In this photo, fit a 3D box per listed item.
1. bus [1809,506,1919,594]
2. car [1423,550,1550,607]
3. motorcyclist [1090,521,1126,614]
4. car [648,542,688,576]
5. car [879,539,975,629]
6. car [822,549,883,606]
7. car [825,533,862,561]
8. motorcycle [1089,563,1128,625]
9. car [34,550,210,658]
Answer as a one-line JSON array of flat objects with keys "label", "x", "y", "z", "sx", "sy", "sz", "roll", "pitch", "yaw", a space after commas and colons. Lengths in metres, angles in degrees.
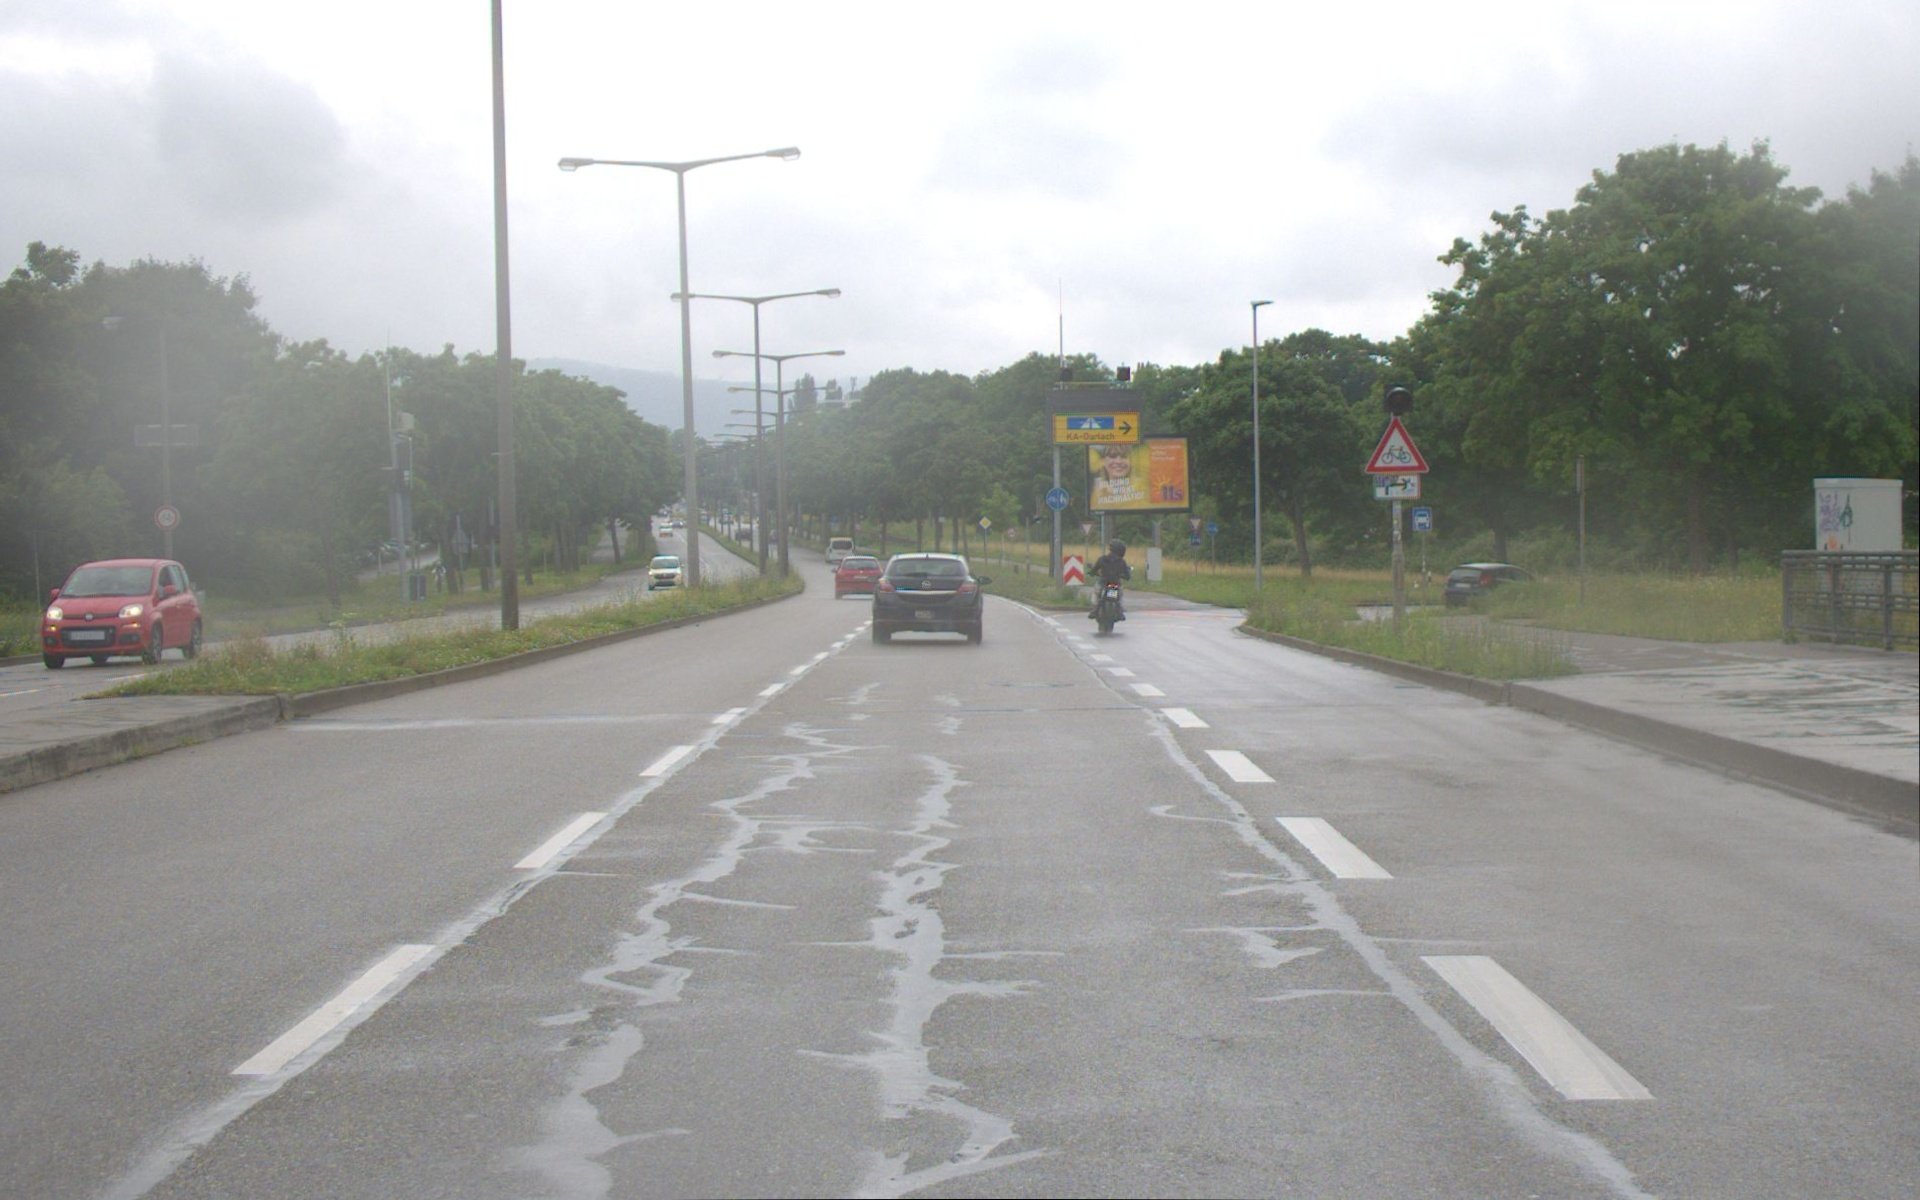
[{"label": "bus", "x": 34.232, "y": -1.516, "z": 108.554, "sx": 14.539, "sy": 2.670, "sz": 2.764, "roll": 0, "pitch": 1, "yaw": -11}, {"label": "car", "x": 15.350, "y": -0.629, "z": 100.136, "sx": 1.859, "sy": 1.612, "sz": 3.991, "roll": 1, "pitch": 1, "yaw": 40}, {"label": "motorcyclist", "x": 2.705, "y": -0.608, "z": 62.886, "sx": 0.601, "sy": 1.684, "sz": 0.860, "roll": 0, "pitch": 1, "yaw": -1}, {"label": "car", "x": -14.843, "y": -2.119, "z": 174.871, "sx": 1.707, "sy": 1.624, "sz": 4.492, "roll": -3, "pitch": 1, "yaw": -1}, {"label": "car", "x": -0.545, "y": -0.276, "z": 54.255, "sx": 1.463, "sy": 1.324, "sz": 3.758, "roll": 0, "pitch": 1, "yaw": -1}, {"label": "car", "x": -3.580, "y": -0.775, "z": 114.944, "sx": 1.993, "sy": 1.873, "sz": 4.000, "roll": 0, "pitch": 1, "yaw": -1}, {"label": "car", "x": -8.722, "y": -3.972, "z": 256.541, "sx": 2.515, "sy": 2.045, "sz": 5.294, "roll": -1, "pitch": 1, "yaw": -5}, {"label": "motorcycle", "x": 2.715, "y": -0.118, "z": 62.916, "sx": 0.601, "sy": 1.089, "sz": 1.732, "roll": 0, "pitch": 1, "yaw": -1}, {"label": "car", "x": -12.195, "y": 0.027, "z": 50.218, "sx": 1.660, "sy": 1.443, "sz": 3.557, "roll": -3, "pitch": 1, "yaw": 0}]
